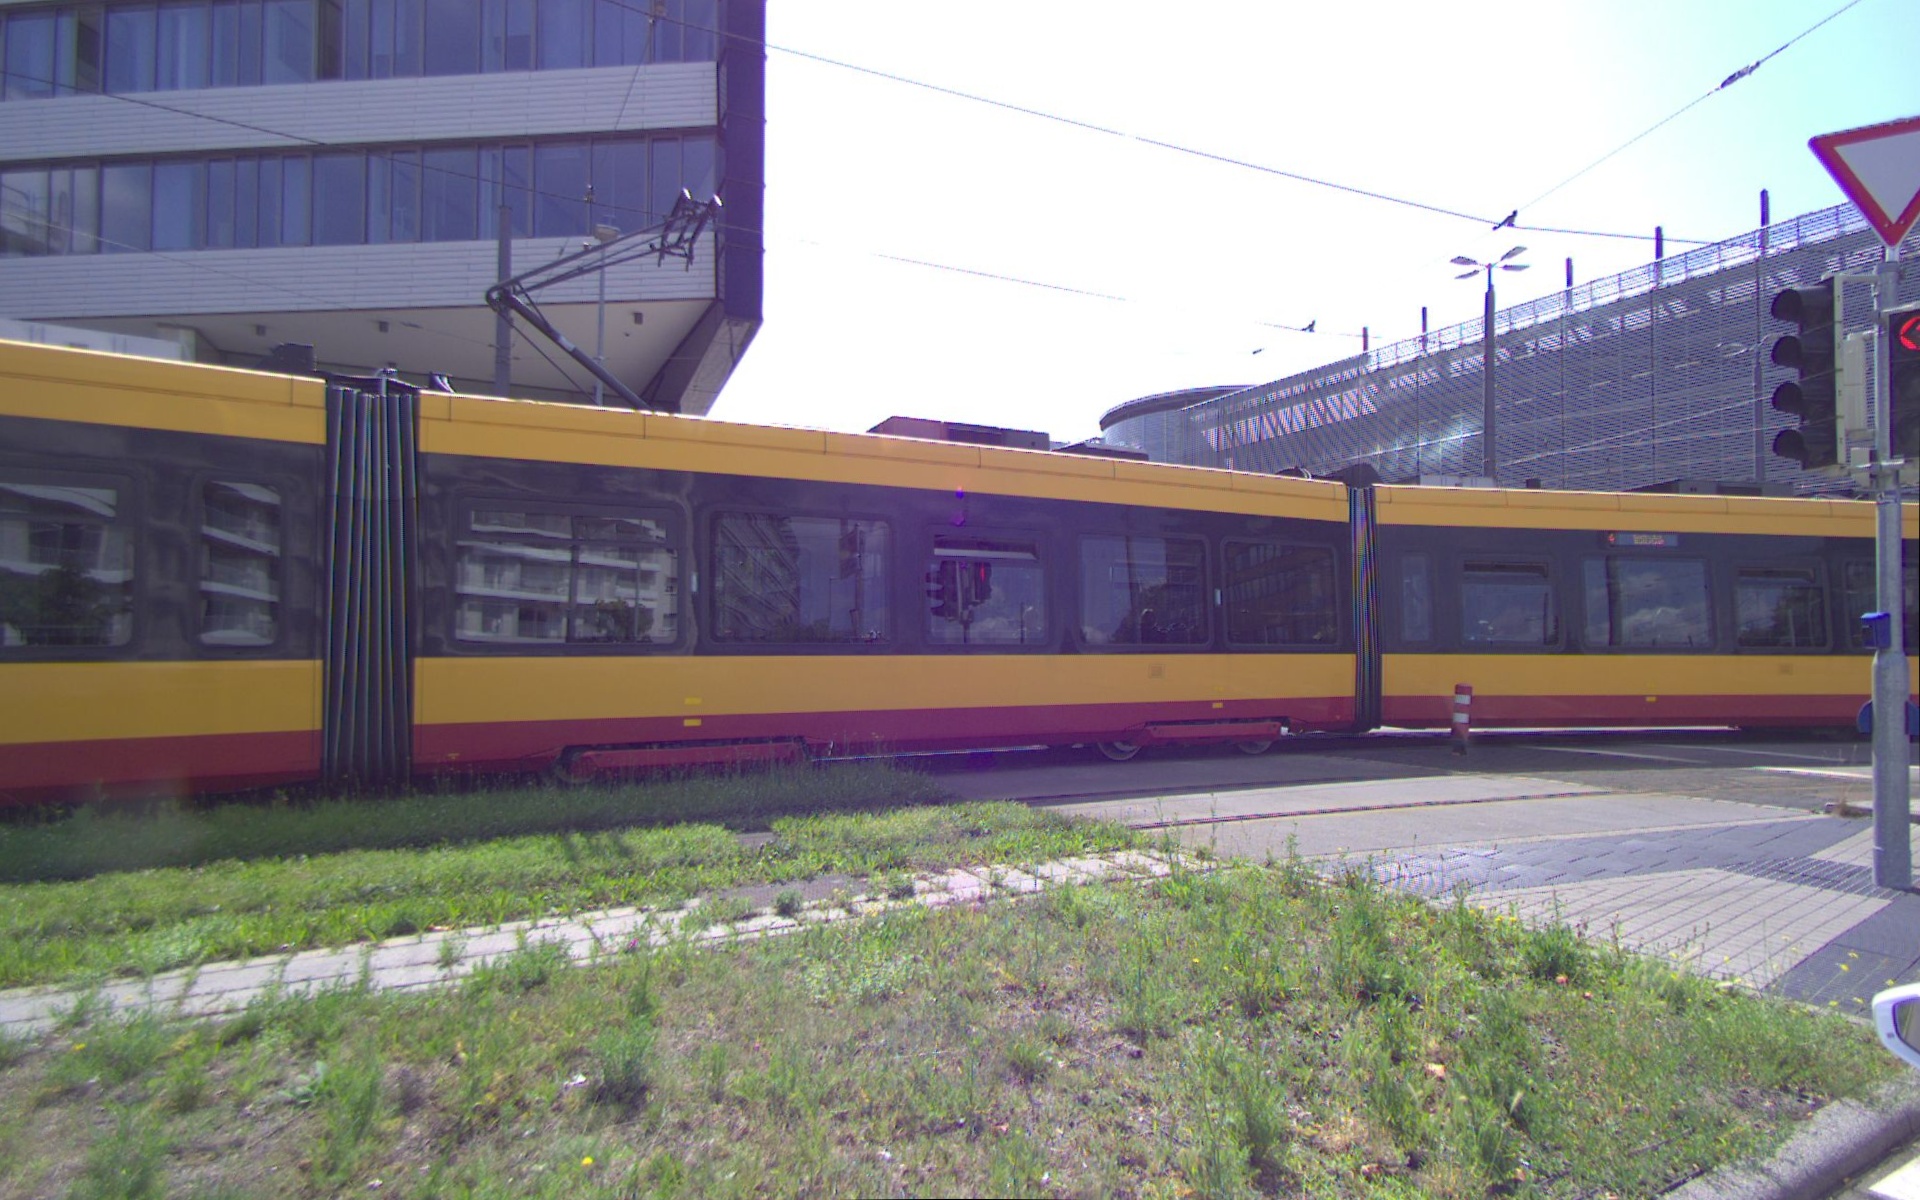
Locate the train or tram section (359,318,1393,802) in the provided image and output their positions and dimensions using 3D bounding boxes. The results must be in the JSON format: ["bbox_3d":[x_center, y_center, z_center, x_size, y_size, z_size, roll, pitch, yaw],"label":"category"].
[{"bbox_3d":[-0.243,-0.138,11.311,10.847,3.650,3.046,1,-3,-26],"label":"train or tram section"}]

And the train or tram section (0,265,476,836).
[{"bbox_3d":[-10.264,-0.363,5.549,13.359,3.646,3.197,2,-3,-34],"label":"train or tram section"}]

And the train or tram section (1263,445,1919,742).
[{"bbox_3d":[11.032,0.022,14.849,12.404,3.668,3.062,0,-3,-9],"label":"train or tram section"}]
